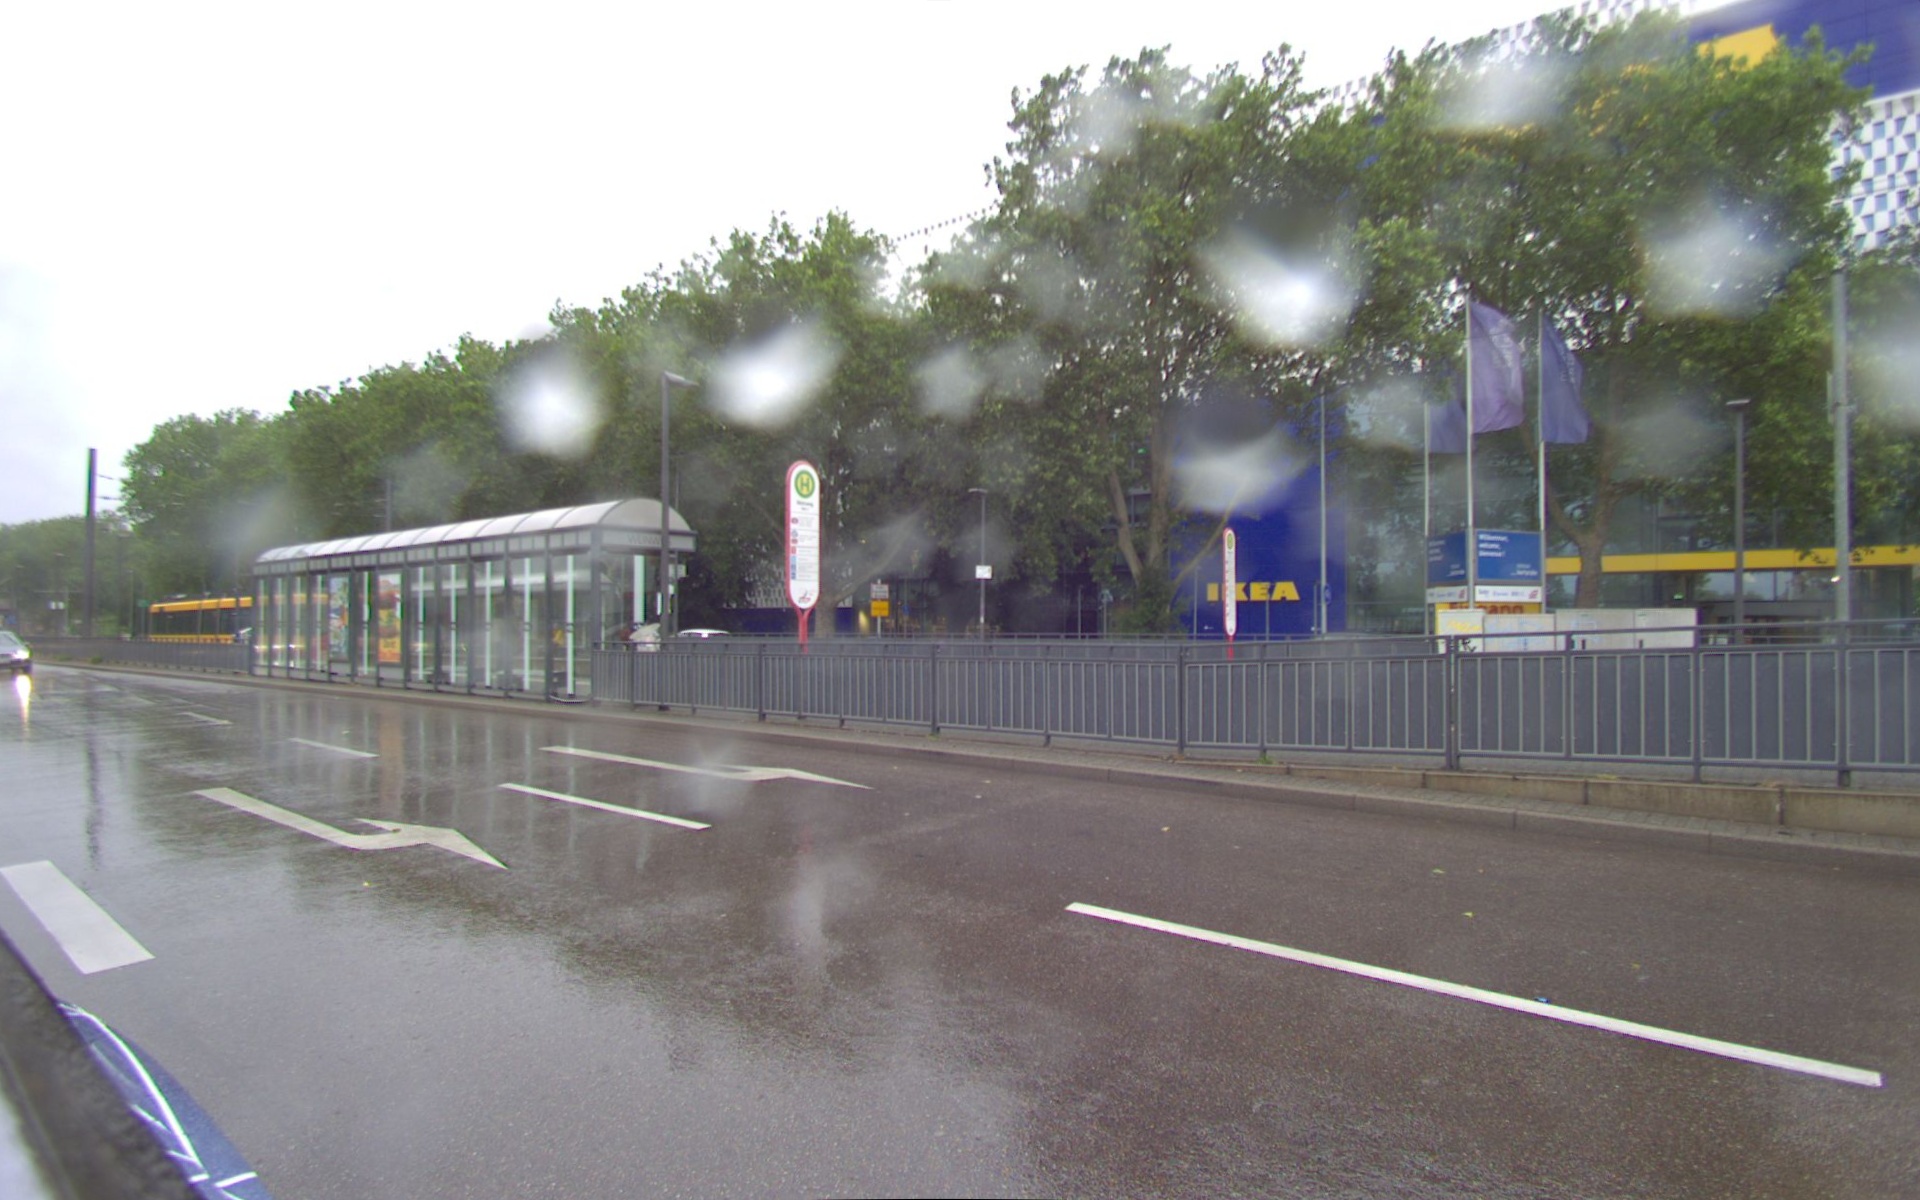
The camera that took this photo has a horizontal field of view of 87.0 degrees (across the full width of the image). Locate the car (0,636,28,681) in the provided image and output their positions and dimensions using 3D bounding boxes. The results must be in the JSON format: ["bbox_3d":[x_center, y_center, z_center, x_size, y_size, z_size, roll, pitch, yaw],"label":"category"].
[{"bbox_3d":[-33.398,1.986,34.706,4.645,1.409,1.743,-1,0,43],"label":"car"}]

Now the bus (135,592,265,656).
[{"bbox_3d":[-44.084,1.305,58.374,15.055,3.354,2.901,-1,0,41],"label":"bus"}]

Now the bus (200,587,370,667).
[{"bbox_3d":[-32.619,1.183,48.404,15.055,3.354,2.901,-1,0,41],"label":"bus"}]
